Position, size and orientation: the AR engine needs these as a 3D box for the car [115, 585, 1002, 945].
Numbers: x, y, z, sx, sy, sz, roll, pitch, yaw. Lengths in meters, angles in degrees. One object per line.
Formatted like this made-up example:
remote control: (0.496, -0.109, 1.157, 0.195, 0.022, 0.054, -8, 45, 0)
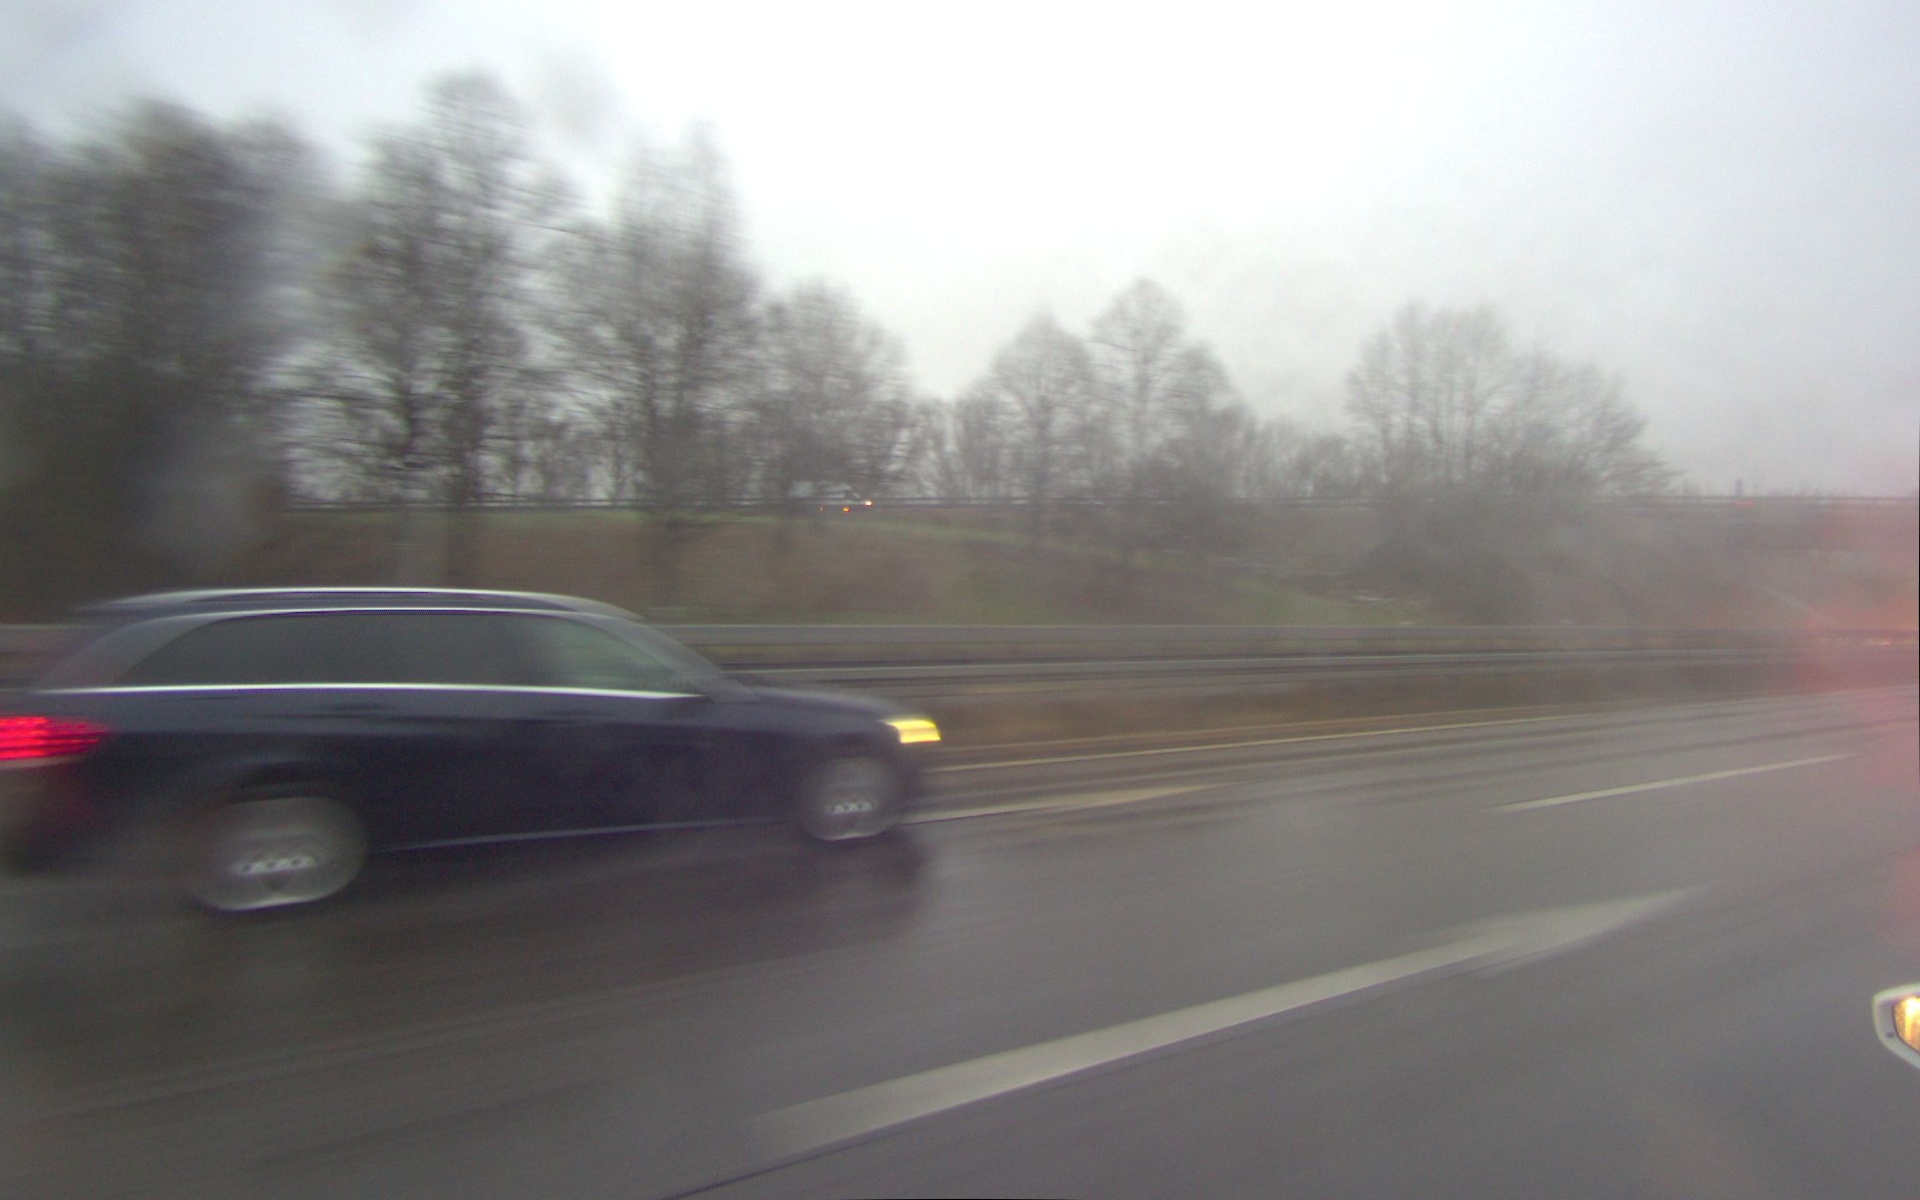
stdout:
car: (-2.058, 0.731, 6.055, 4.361, 1.487, 1.790, 0, -2, -30)
